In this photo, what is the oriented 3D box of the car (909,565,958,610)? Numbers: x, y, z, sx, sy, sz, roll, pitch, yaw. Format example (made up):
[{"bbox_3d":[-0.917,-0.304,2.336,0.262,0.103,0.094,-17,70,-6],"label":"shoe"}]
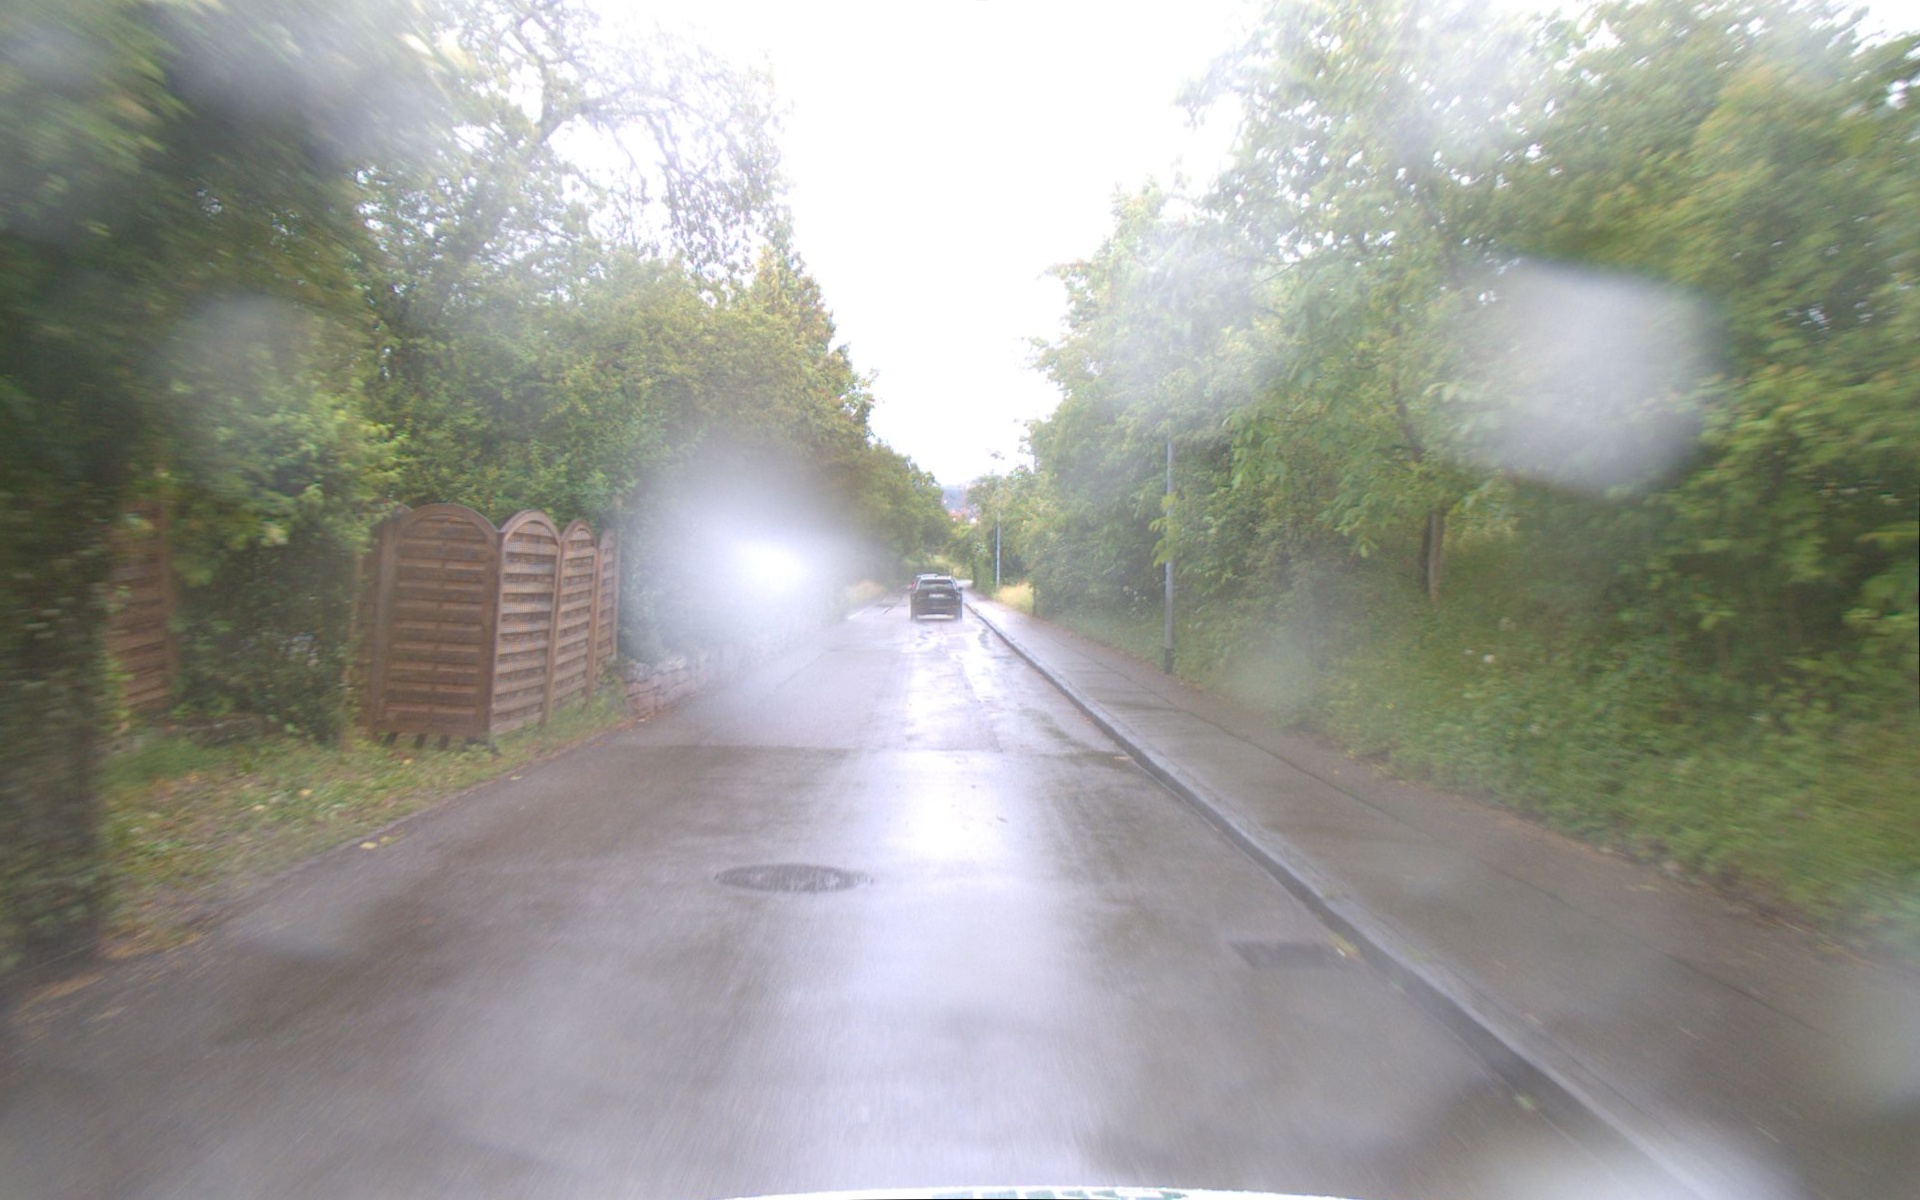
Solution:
[{"bbox_3d":[-0.870,-0.403,56.156,1.601,1.475,3.544,0,0,0],"label":"car"}]
